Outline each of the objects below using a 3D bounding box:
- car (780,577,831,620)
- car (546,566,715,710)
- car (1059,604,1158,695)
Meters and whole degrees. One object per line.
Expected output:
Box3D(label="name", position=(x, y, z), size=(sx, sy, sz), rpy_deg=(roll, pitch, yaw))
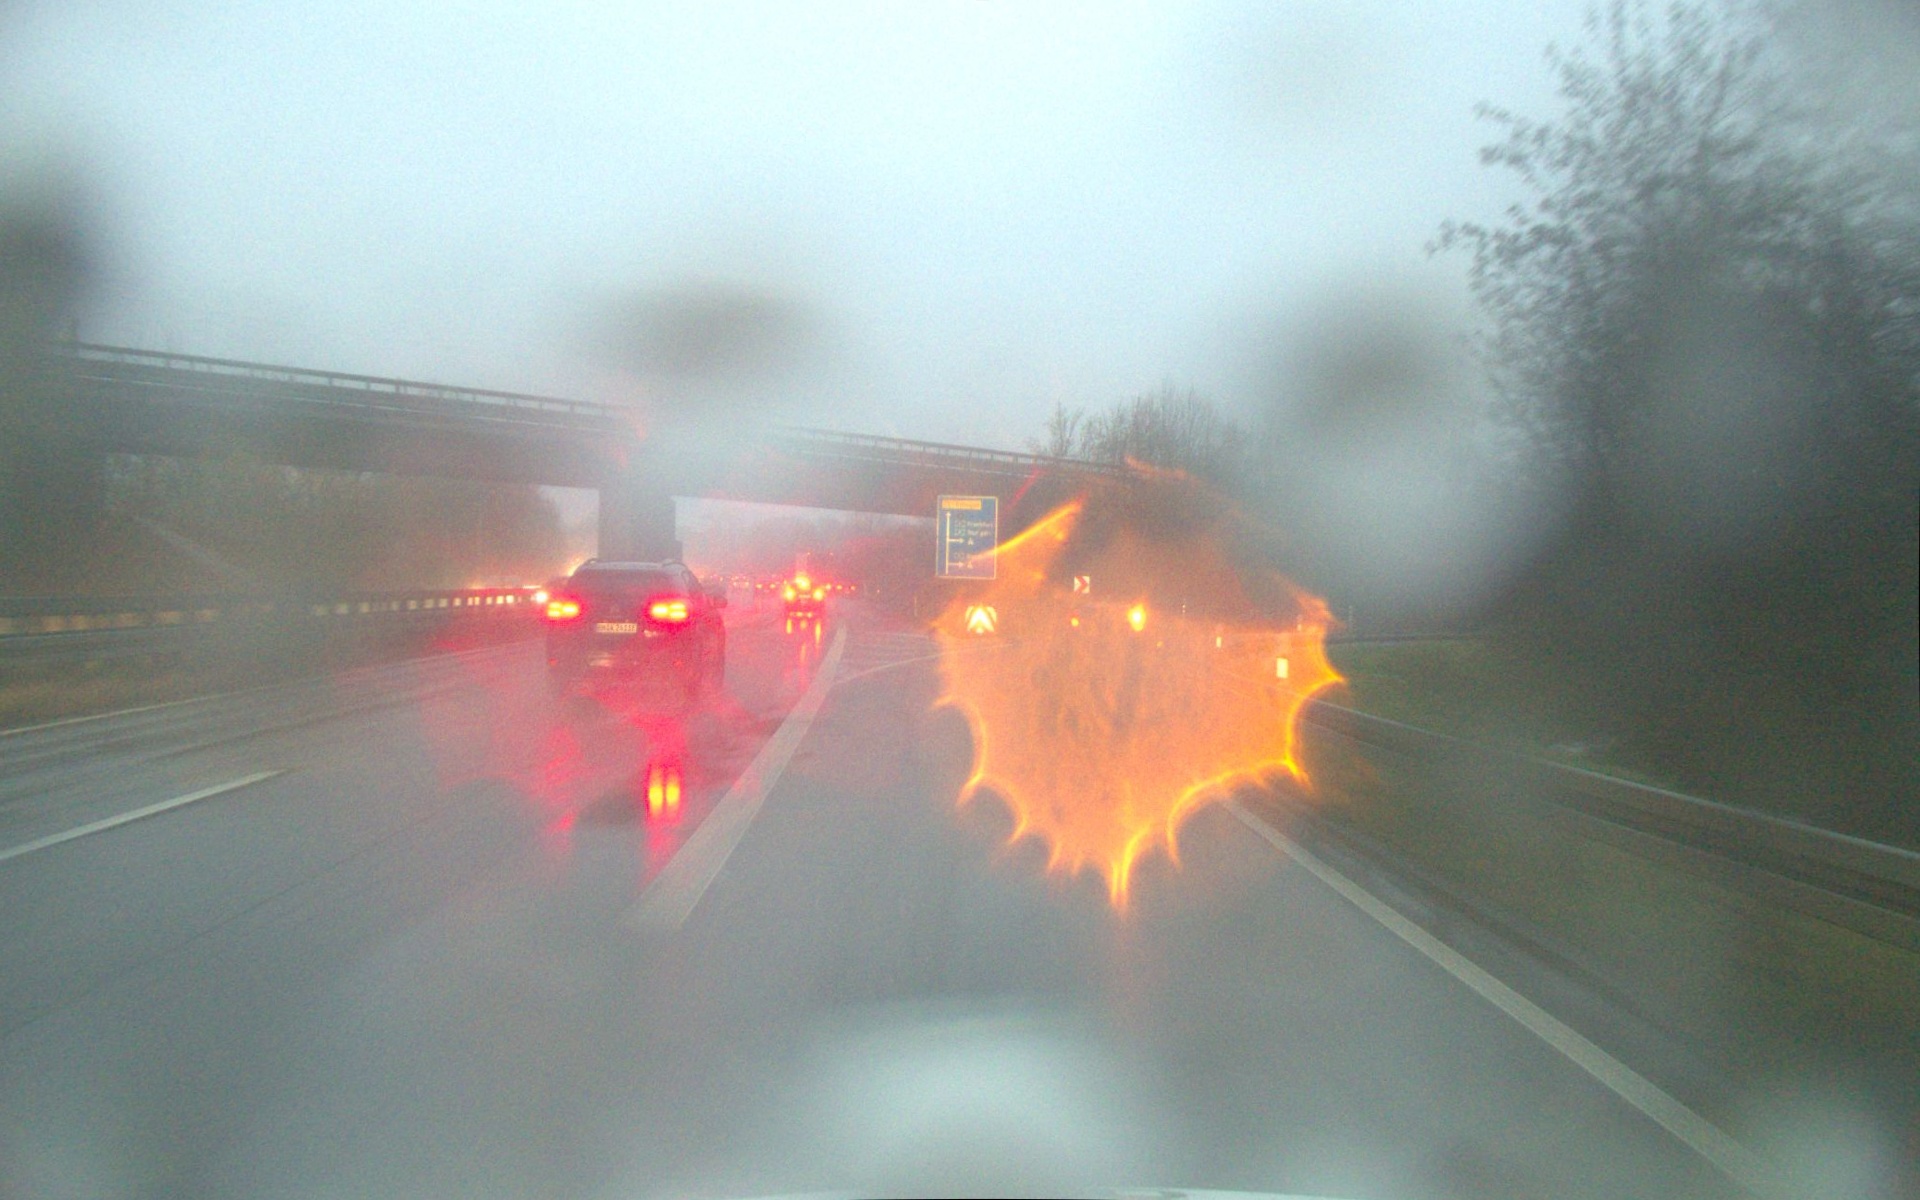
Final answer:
Box3D(label="car", position=(-6.666, -0.101, 71.724), size=(1.840, 1.645, 3.874), rpy_deg=(2, 2, -1))
Box3D(label="car", position=(-4.195, 0.413, 21.527), size=(1.957, 1.694, 3.992), rpy_deg=(0, 1, -9))
Box3D(label="car", position=(2.765, 0.886, 31.467), size=(1.696, 1.454, 3.767), rpy_deg=(-3, 1, 3))
